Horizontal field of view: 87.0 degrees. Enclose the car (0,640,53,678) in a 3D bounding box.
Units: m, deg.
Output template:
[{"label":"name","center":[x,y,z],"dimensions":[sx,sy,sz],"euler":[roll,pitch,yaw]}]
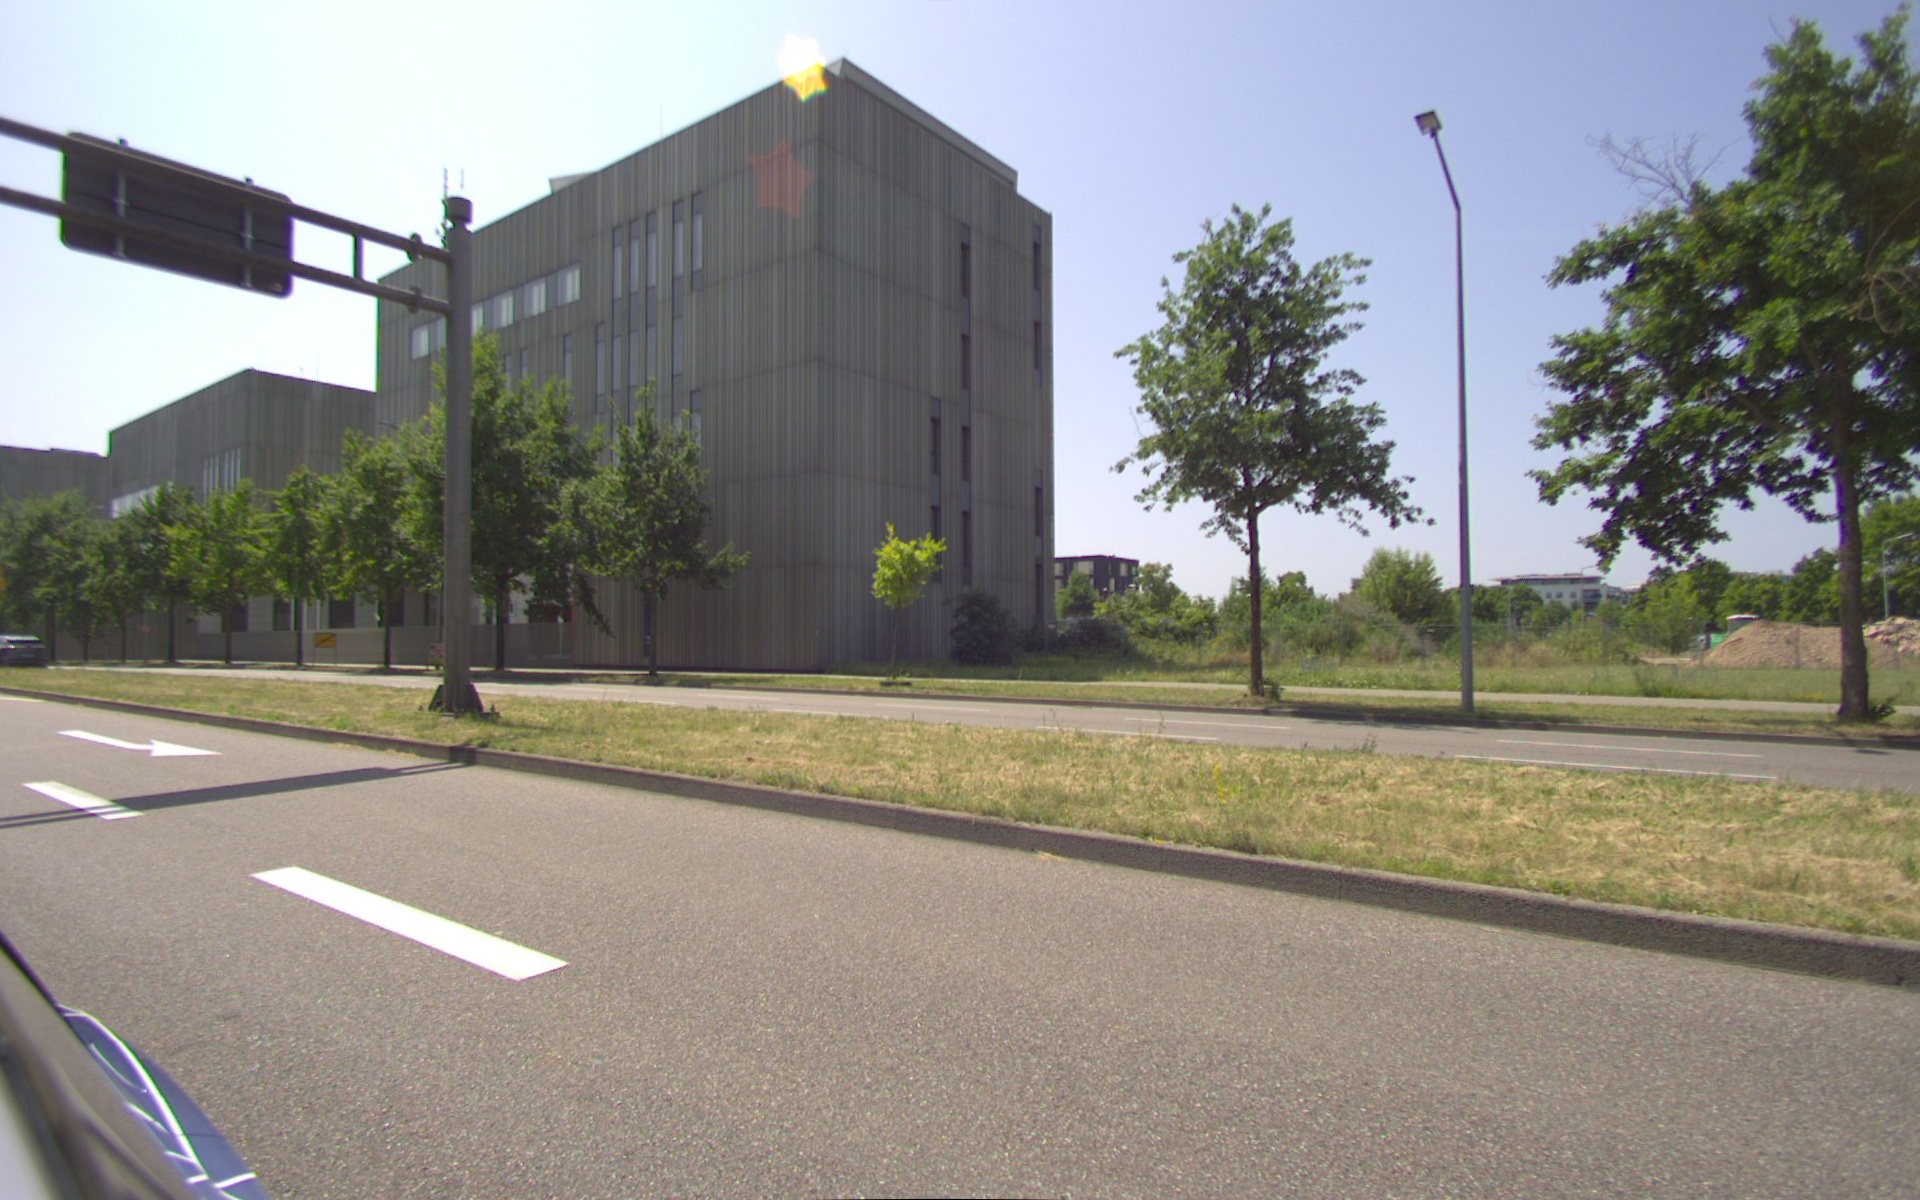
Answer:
[{"label":"car","center":[-42.693,2.641,45.518],"dimensions":[4.524,1.623,1.876],"euler":[-2,-3,35]}]
